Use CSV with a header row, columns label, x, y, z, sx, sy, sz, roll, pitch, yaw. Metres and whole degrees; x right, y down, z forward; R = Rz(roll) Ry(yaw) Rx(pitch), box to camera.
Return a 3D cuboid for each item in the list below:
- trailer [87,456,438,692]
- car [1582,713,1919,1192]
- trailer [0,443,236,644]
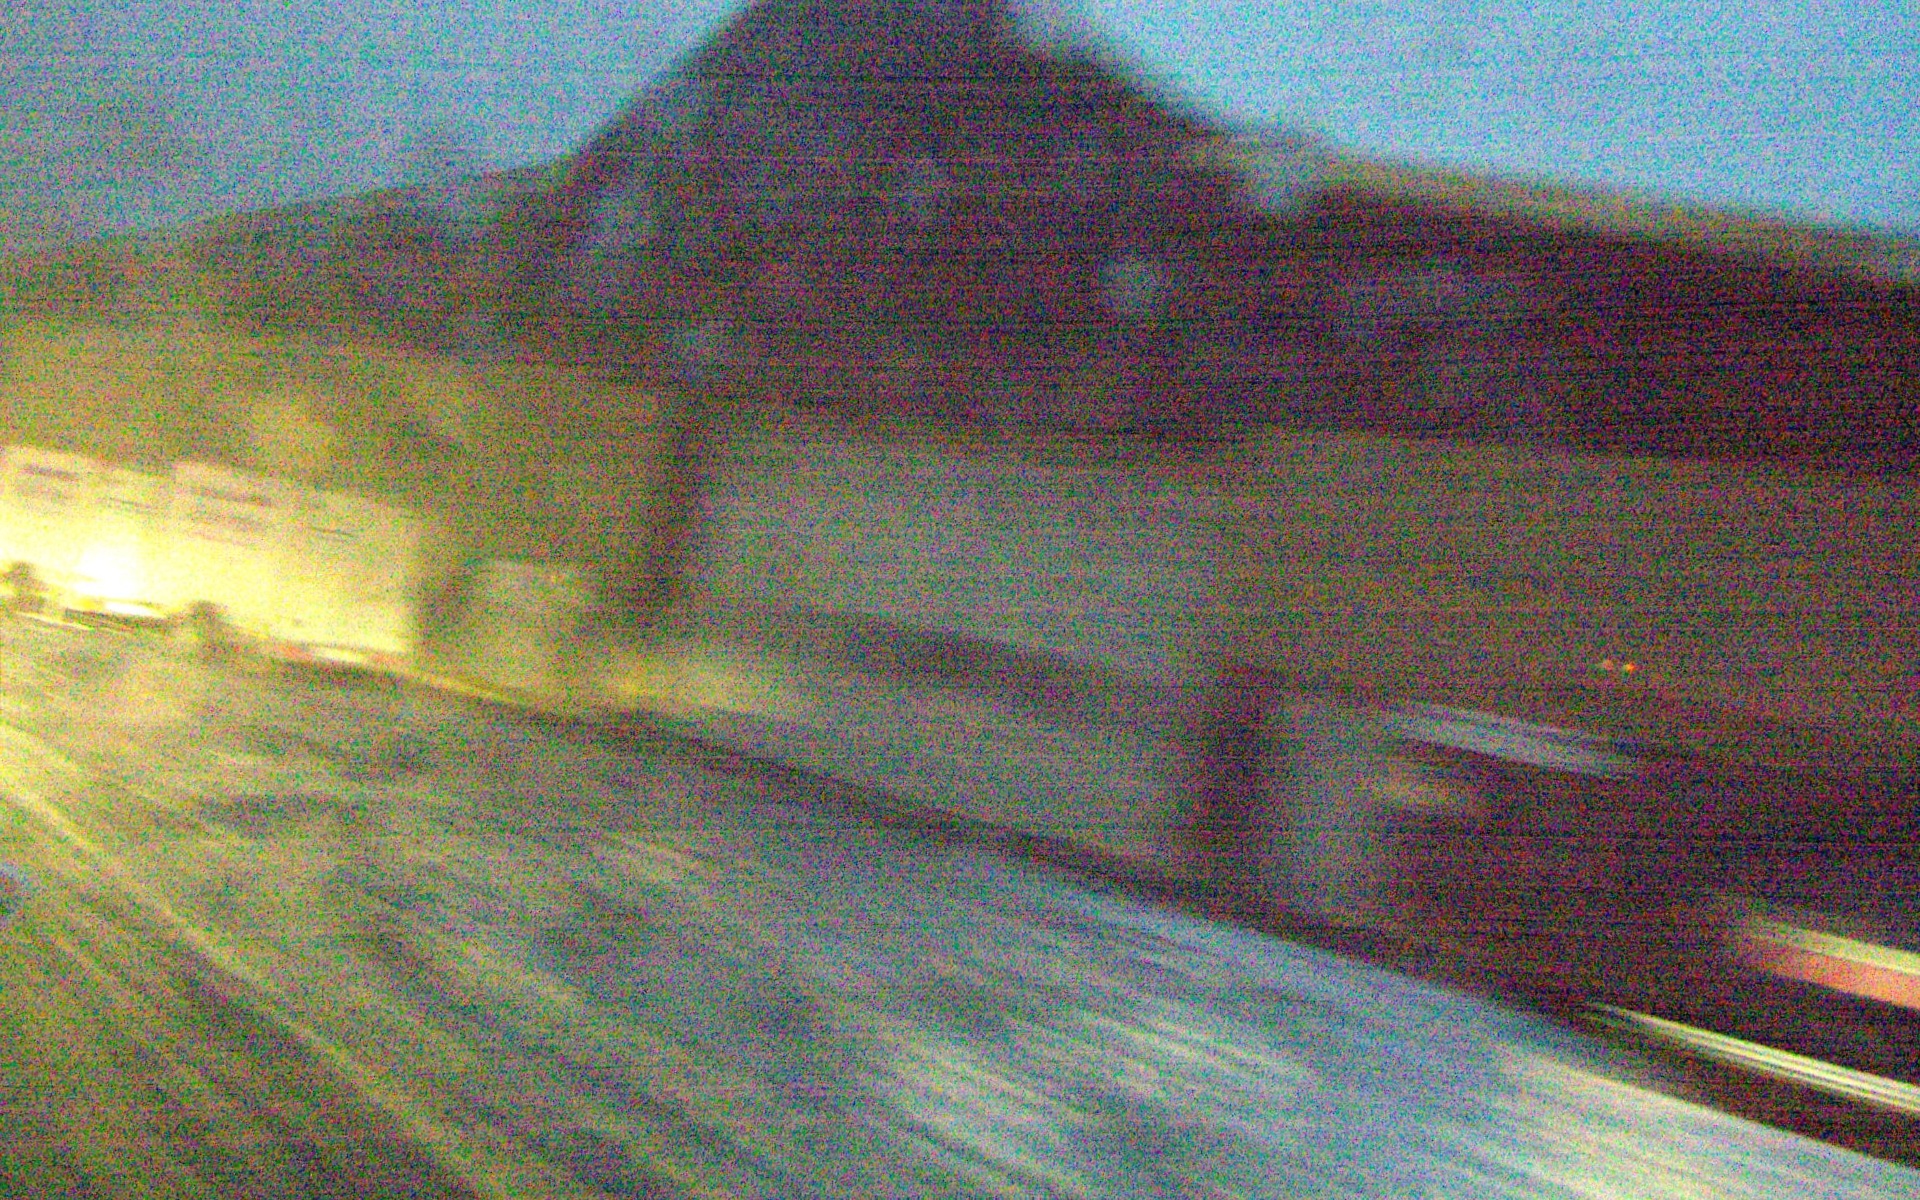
label,x,y,z,sx,sy,sz,roll,pitch,yaw
trailer,-9.054,-0.387,12.997,4.354,2.375,1.612,7,-5,29
car,5.937,1.968,5.118,4.312,2.061,1.886,7,-4,25
trailer,-13.233,-0.916,15.149,4.572,2.388,1.637,7,-5,29
